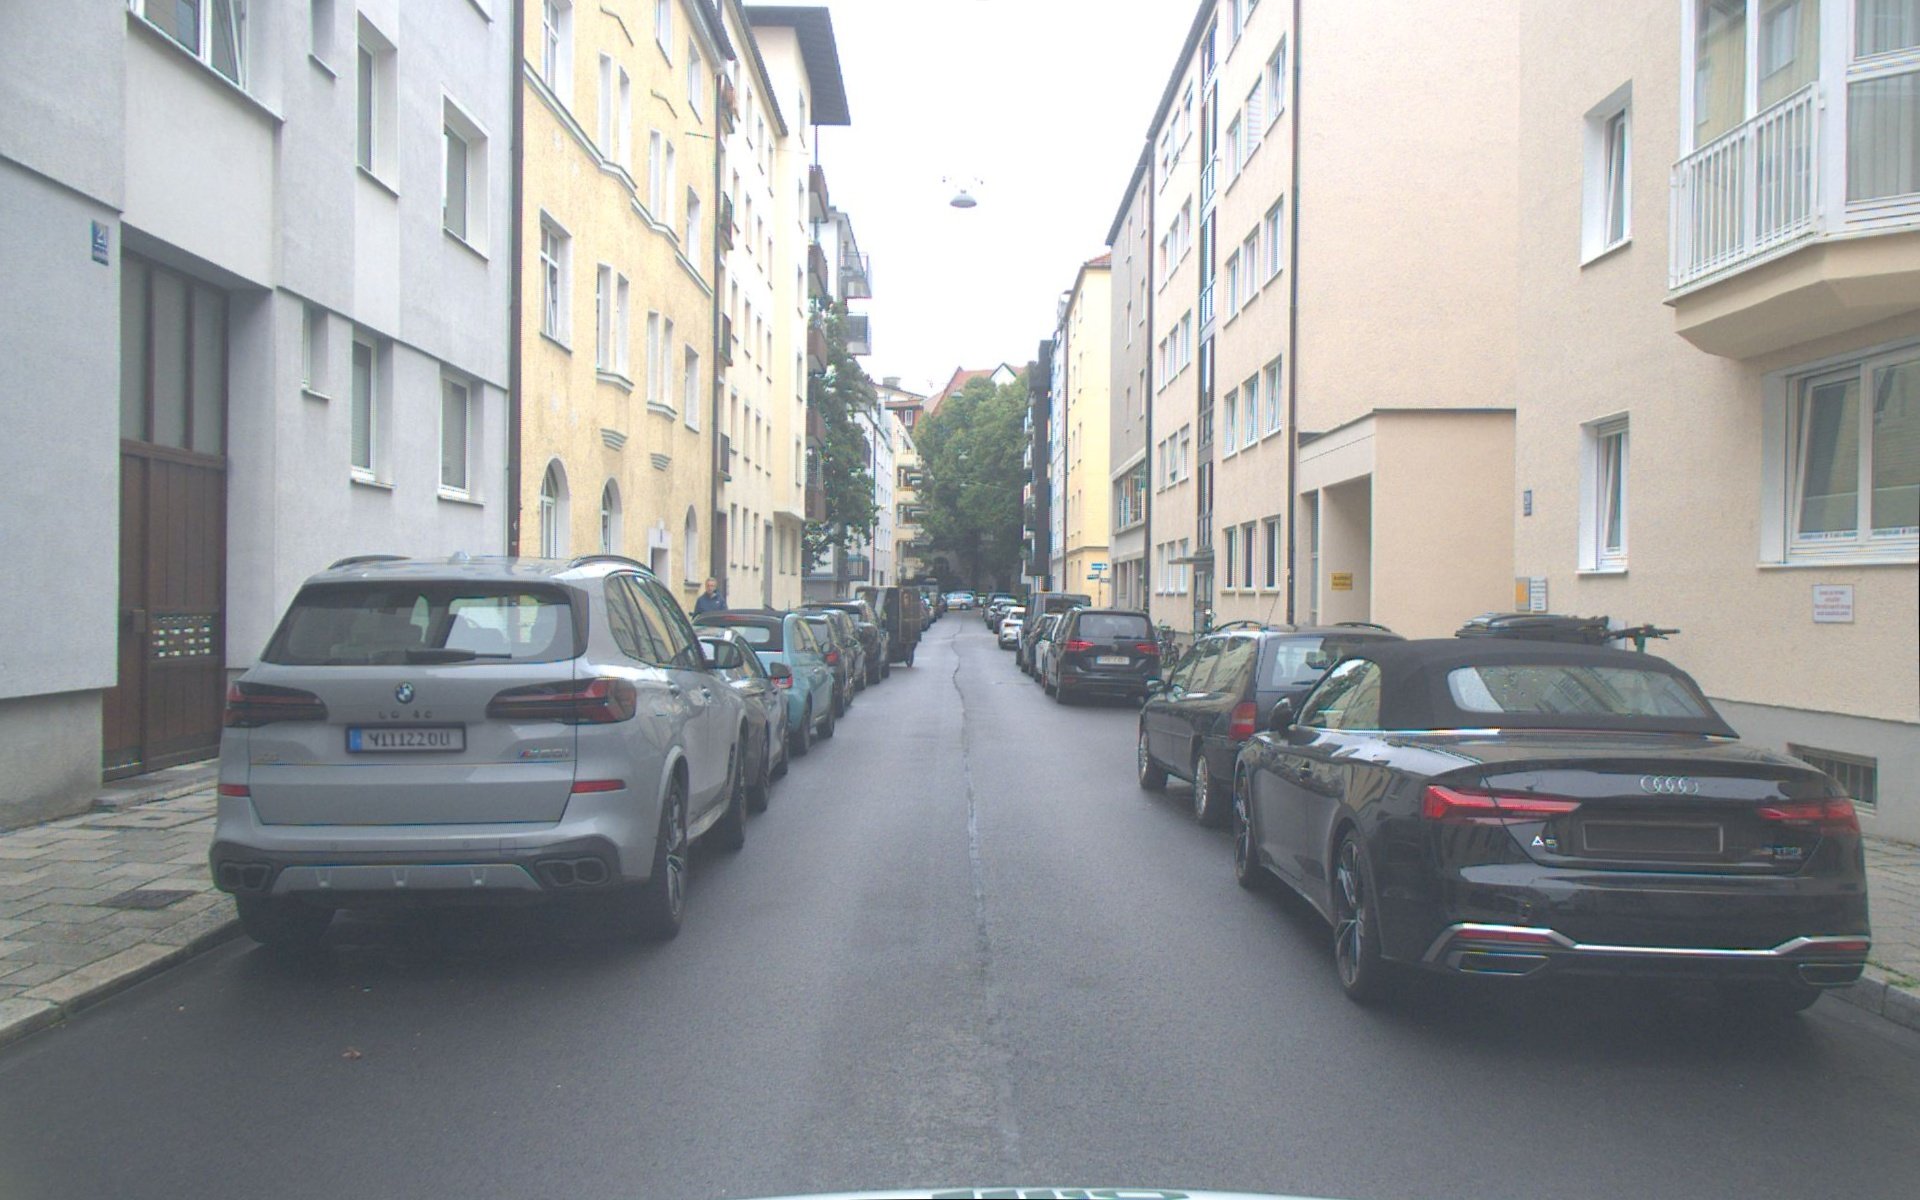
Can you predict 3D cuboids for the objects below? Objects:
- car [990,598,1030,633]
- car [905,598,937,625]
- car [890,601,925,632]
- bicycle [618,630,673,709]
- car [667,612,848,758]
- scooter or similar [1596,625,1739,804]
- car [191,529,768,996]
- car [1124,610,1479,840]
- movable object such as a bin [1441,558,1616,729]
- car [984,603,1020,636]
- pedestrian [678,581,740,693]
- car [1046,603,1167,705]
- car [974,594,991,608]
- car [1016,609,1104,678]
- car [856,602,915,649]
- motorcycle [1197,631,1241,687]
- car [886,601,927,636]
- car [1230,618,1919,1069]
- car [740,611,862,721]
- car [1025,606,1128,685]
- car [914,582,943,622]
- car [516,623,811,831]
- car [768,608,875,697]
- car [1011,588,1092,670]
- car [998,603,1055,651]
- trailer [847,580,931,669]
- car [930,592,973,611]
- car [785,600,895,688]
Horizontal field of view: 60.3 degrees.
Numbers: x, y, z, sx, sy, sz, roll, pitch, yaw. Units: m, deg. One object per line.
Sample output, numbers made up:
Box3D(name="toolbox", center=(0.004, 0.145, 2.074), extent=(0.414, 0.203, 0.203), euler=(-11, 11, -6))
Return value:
Box3D(name="car", center=(2.378, 0.728, 79.536), extent=(1.715, 1.495, 4.343), euler=(3, 0, 0))
Box3D(name="car", center=(-2.368, 0.677, 101.303), extent=(1.740, 1.513, 4.519), euler=(-2, 0, 1))
Box3D(name="car", center=(-2.596, 0.781, 82.170), extent=(1.658, 1.467, 3.976), euler=(-1, 0, -1))
Box3D(name="bicycle", center=(-5.251, 1.138, 27.707), extent=(0.581, 1.255, 1.736), euler=(1, -1, -1))
Box3D(name="car", center=(-2.202, 0.889, 18.723), extent=(1.530, 1.486, 3.405), euler=(0, 0, 2))
Box3D(name="scooter or similar", center=(5.394, 0.846, 12.662), extent=(0.564, 1.289, 1.136), euler=(-1, -1, 0))
Box3D(name="car", center=(-2.187, 0.658, 8.964), extent=(1.825, 1.801, 4.734), euler=(-2, 0, -2))
Box3D(name="car", center=(2.508, 0.851, 13.279), extent=(1.682, 1.497, 4.529), euler=(2, -1, -3))
Box3D(name="movable object such as a bin", center=(5.140, 0.381, 15.073), extent=(1.011, 1.448, 1.586), euler=(-2, -1, 0))
Box3D(name="car", center=(2.236, 1.047, 89.519), extent=(1.648, 1.595, 4.414), euler=(3, 0, -2))
Box3D(name="pedestrian", center=(-4.113, 0.595, 27.216), extent=(0.822, 1.795, 1.067), euler=(1, 0, 0))
Box3D(name="car", center=(2.519, 0.907, 29.300), extent=(1.677, 1.636, 4.243), euler=(2, -1, -1))
Box3D(name="car", center=(2.269, 0.093, 166.663), extent=(1.609, 1.408, 3.745), euler=(-2, 0, 0))
Box3D(name="car", center=(2.360, 1.005, 39.780), extent=(1.677, 1.512, 4.242), euler=(2, -1, -2))
Box3D(name="car", center=(-2.559, 0.860, 57.610), extent=(1.729, 1.509, 4.424), euler=(0, 1, 1))
Box3D(name="motorcycle", center=(4.941, 1.116, 31.630), extent=(0.472, 0.984, 1.911), euler=(-3, 0, -1))
Box3D(name="car", center=(-2.382, 0.821, 74.440), extent=(1.658, 1.467, 3.942), euler=(-1, 0, 1))
Box3D(name="car", center=(2.482, 0.830, 7.672), extent=(1.795, 1.430, 4.411), euler=(2, -1, 1))
Box3D(name="car", center=(-2.314, 0.925, 24.746), extent=(1.531, 1.486, 3.763), euler=(0, 0, -1))
Box3D(name="car", center=(2.381, 0.915, 34.767), extent=(1.677, 1.512, 4.242), euler=(2, -1, -2))
Box3D(name="car", center=(-2.280, 0.133, 121.006), extent=(1.897, 2.850, 4.532), euler=(-2, 0, 0))
Box3D(name="car", center=(-2.310, 0.936, 13.953), extent=(1.775, 1.410, 4.249), euler=(-2, 0, -1))
Box3D(name="car", center=(-2.421, 0.890, 29.582), extent=(1.530, 1.486, 3.476), euler=(0, 0, 1))
Box3D(name="car", center=(2.409, 0.725, 44.423), extent=(1.716, 2.010, 4.341), euler=(3, 0, -2))
Box3D(name="car", center=(2.354, 0.944, 59.448), extent=(1.782, 1.432, 3.952), euler=(1, 3, -1))
Box3D(name="trailer", center=(-1.766, 0.602, 41.982), extent=(1.326, 2.153, 3.321), euler=(1, 0, 12))
Box3D(name="car", center=(-0.752, 0.132, 149.596), extent=(3.807, 1.612, 1.647), euler=(-2, 0, -1))
Box3D(name="car", center=(-2.425, 0.864, 34.377), extent=(1.840, 1.689, 4.415), euler=(0, 0, 1))
